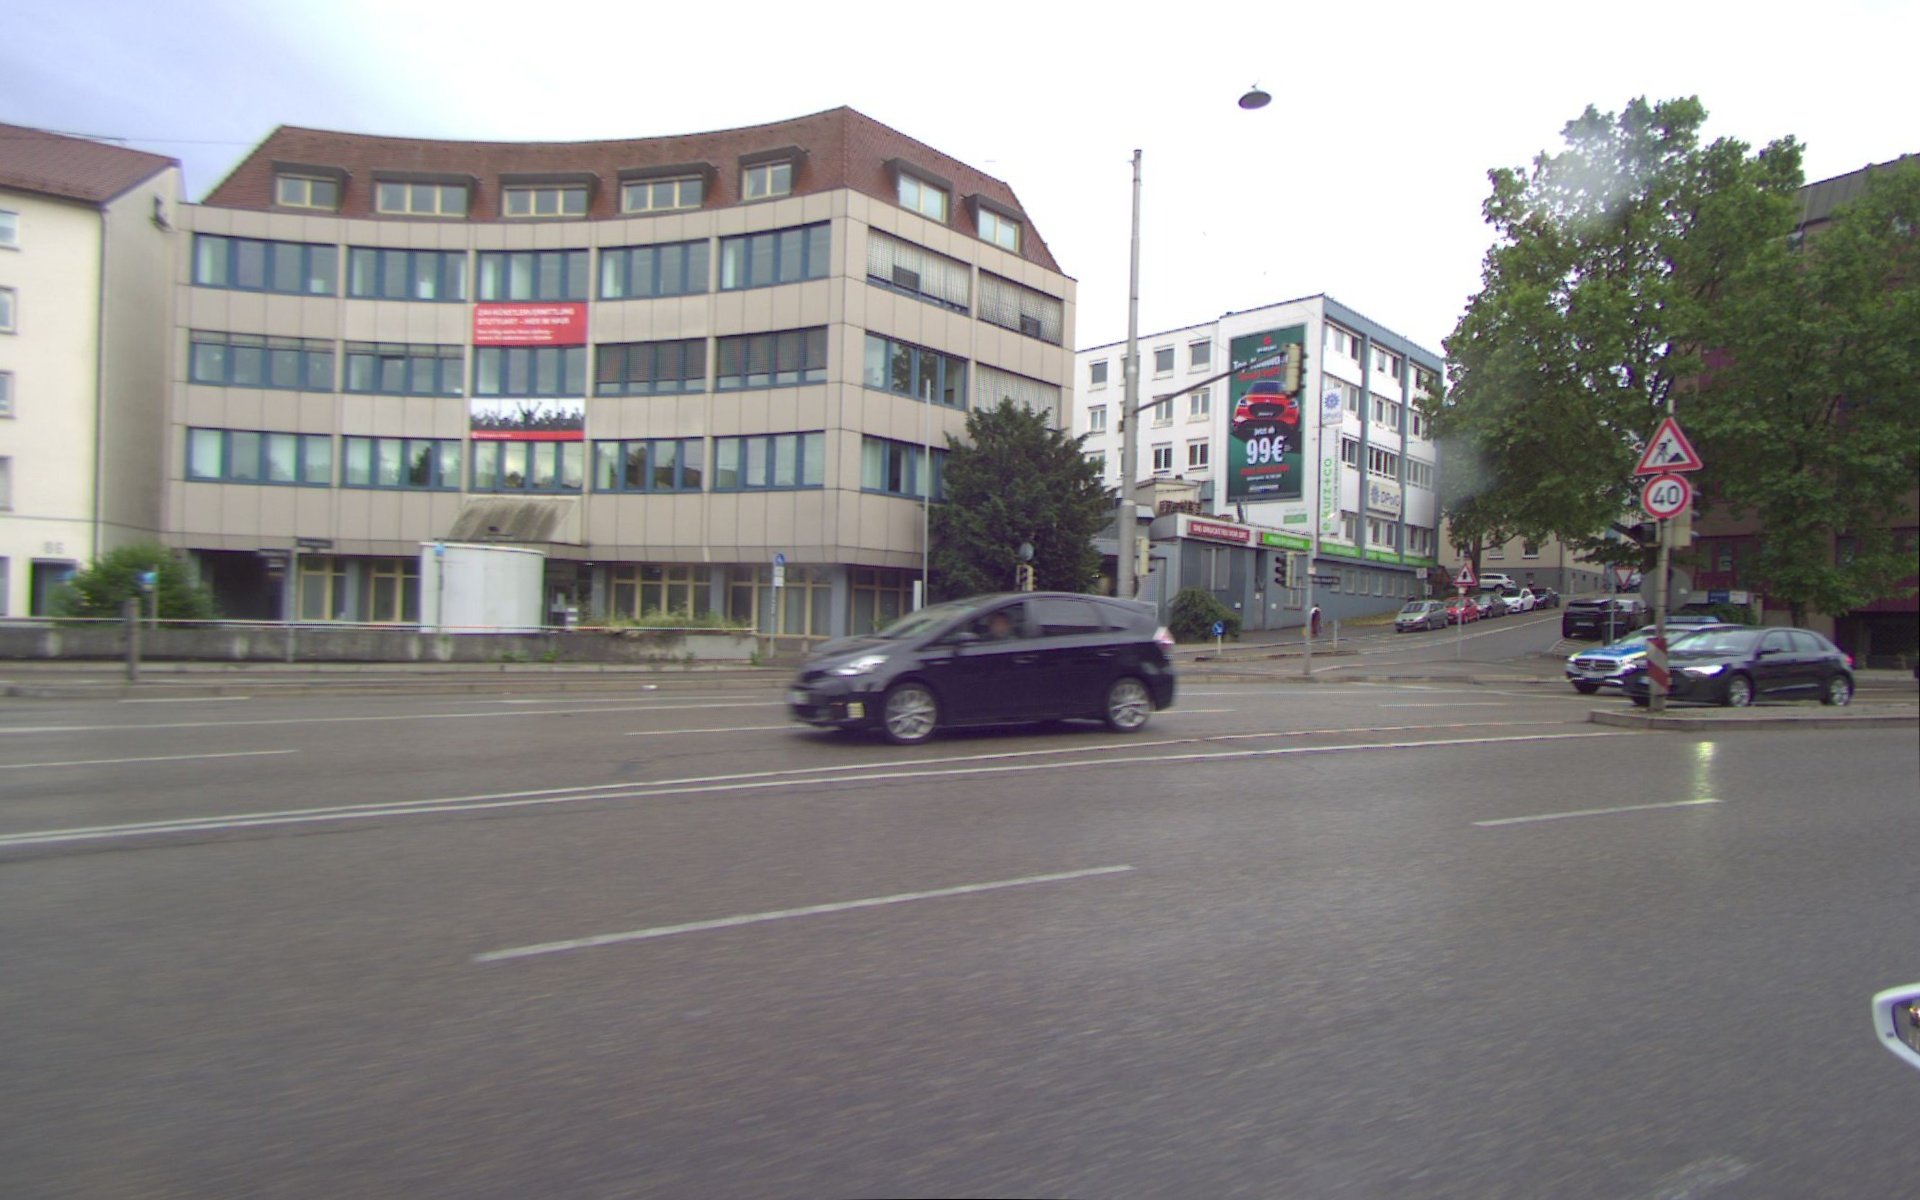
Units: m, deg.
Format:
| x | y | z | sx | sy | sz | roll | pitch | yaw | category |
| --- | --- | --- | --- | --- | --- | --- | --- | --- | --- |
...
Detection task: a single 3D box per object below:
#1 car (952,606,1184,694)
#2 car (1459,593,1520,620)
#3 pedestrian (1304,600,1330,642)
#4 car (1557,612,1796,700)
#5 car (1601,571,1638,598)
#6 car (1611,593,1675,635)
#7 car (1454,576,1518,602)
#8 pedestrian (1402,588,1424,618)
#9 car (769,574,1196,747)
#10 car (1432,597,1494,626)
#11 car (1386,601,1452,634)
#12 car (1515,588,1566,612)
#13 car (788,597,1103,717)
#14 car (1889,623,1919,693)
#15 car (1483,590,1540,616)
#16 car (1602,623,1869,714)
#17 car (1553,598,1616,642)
| x | y | z | sx | sy | sz | roll | pitch | yaw | category |
| --- | --- | --- | --- | --- | --- | --- | --- | --- | --- |
| 2.070 | 0.963 | 19.175 | 4.064 | 1.532 | 1.758 | 2 | -2 | -24 | car |
| 32.017 | 0.381 | 60.709 | 4.035 | 1.450 | 1.818 | -4 | 2 | -39 | car |
| 17.770 | 1.041 | 49.991 | 0.975 | 2.040 | 0.830 | 3 | -2 | -44 | pedestrian |
| 14.901 | 1.165 | 20.900 | 4.519 | 1.704 | 1.765 | 2 | -1 | -19 | car |
| 56.324 | -1.298 | 85.760 | 1.973 | 2.040 | 3.976 | 0 | -2 | 44 | car |
| 34.520 | 0.664 | 50.746 | 3.972 | 1.893 | 1.912 | -3 | 2 | -44 | car |
| 43.594 | -0.893 | 83.341 | 4.367 | 2.033 | 1.990 | 0 | -2 | 42 | car |
| 26.818 | 0.184 | 59.455 | 0.975 | 1.740 | 0.830 | 3 | -2 | -44 | pedestrian |
| 0.306 | 0.667 | 11.411 | 4.533 | 1.643 | 1.847 | 2 | -2 | -27 | car |
| 28.828 | 0.630 | 57.530 | 4.039 | 1.450 | 1.816 | -4 | 2 | -42 | car |
| 24.627 | 0.914 | 53.882 | 4.147 | 1.483 | 1.815 | -4 | 2 | -44 | car |
| 38.926 | -0.027 | 67.310 | 4.038 | 1.450 | 1.816 | -3 | 2 | -42 | car |
| -0.220 | 0.818 | 14.510 | 4.170 | 1.532 | 1.814 | 2 | -2 | -21 | car |
| 25.763 | 1.458 | 24.900 | 4.861 | 1.699 | 1.992 | 2 | -2 | -19 | car |
| 35.217 | 0.179 | 64.099 | 4.035 | 1.450 | 1.818 | -4 | 2 | -39 | car |
| 13.416 | 1.172 | 17.404 | 4.019 | 1.435 | 1.765 | 2 | -1 | -19 | car |
| 29.320 | 0.895 | 47.091 | 1.908 | 1.893 | 3.981 | 3 | 2 | 40 | car |
